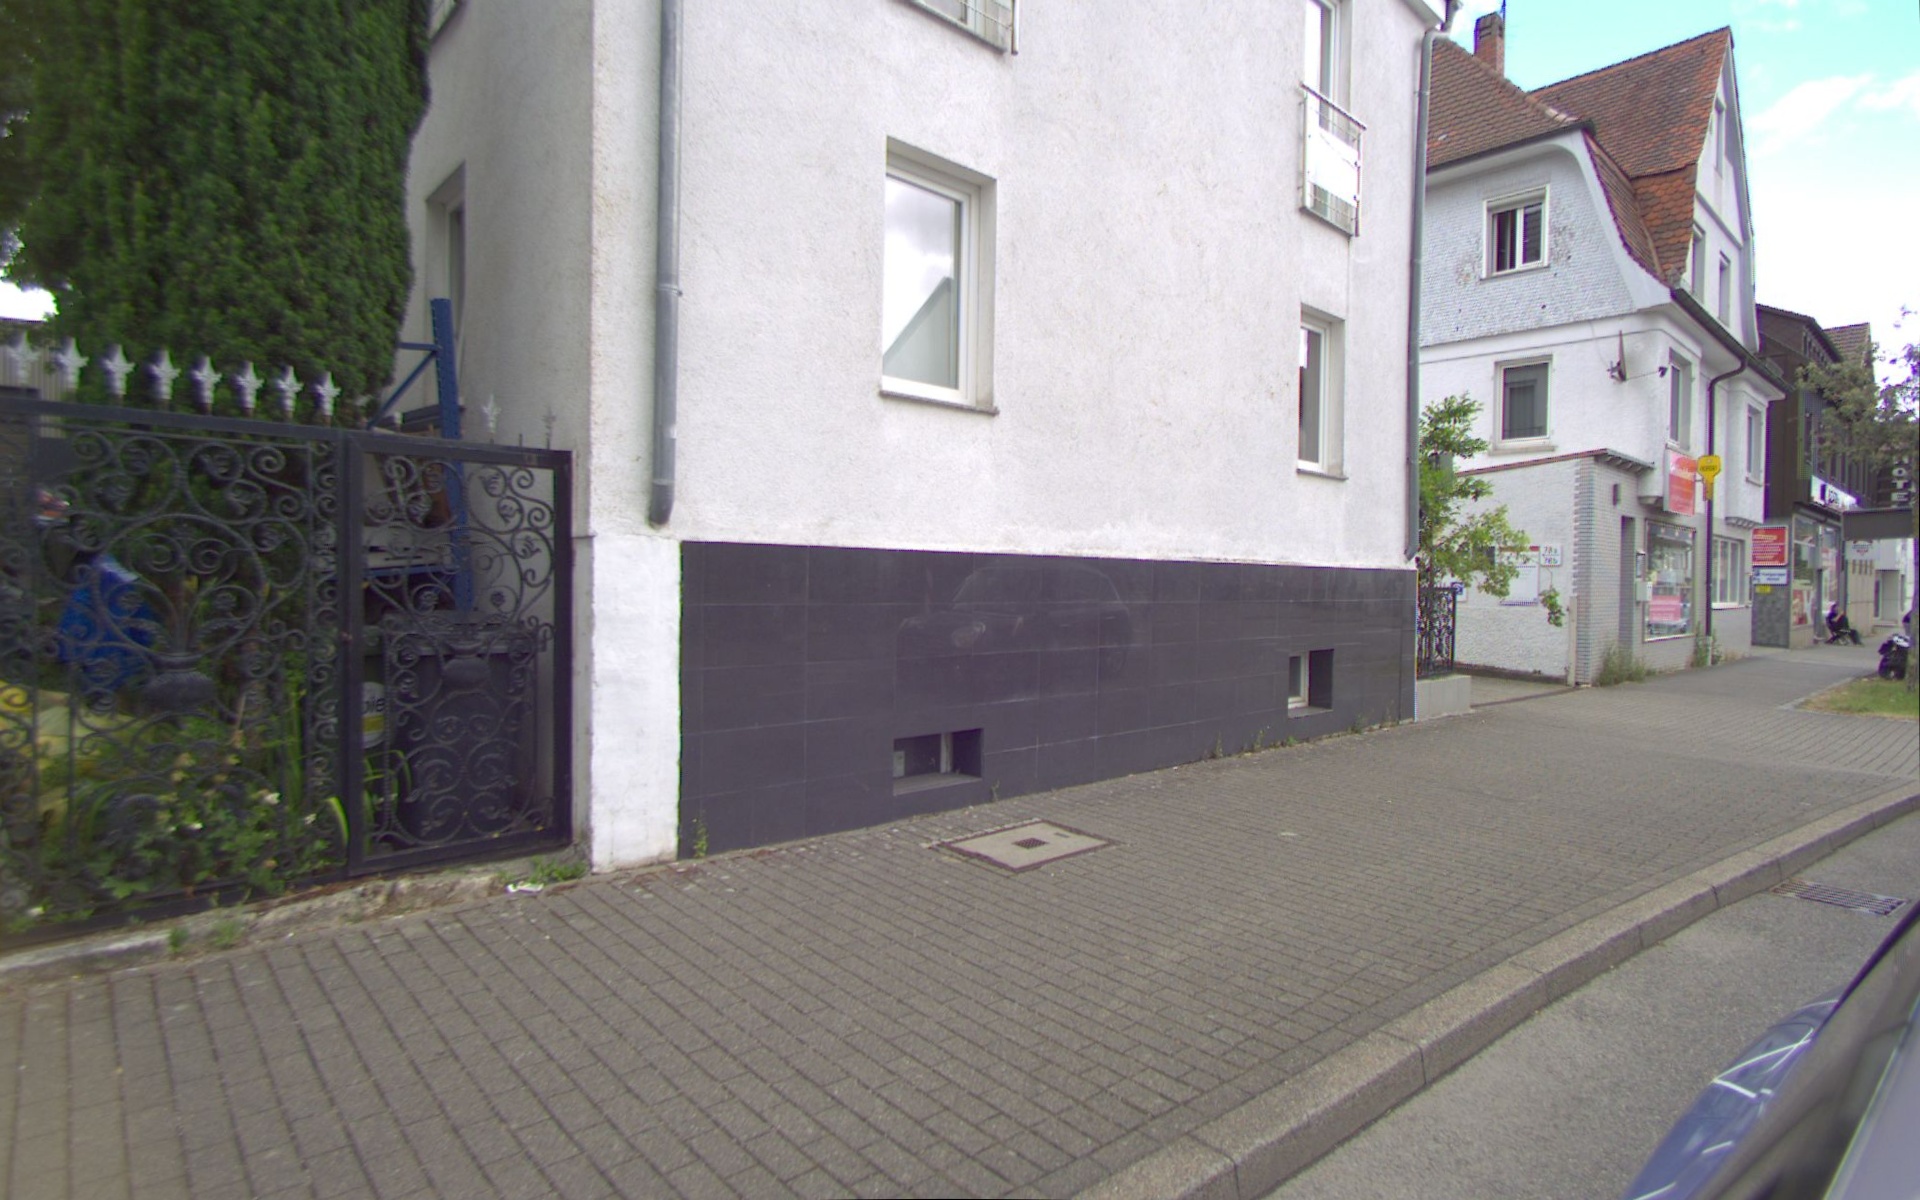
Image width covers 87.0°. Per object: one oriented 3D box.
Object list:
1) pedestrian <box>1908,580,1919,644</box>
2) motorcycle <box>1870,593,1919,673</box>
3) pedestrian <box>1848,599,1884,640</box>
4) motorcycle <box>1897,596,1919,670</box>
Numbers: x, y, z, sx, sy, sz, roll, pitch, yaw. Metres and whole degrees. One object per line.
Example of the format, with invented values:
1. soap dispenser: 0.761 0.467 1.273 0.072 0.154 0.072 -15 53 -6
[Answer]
1. pedestrian: 27.070 0.332 28.381 0.641 1.762 0.731 2 2 42
2. motorcycle: 17.366 0.583 17.946 0.763 1.399 2.236 0 0 11
3. pedestrian: 28.330 0.601 31.647 0.633 1.226 0.741 0 2 -43
4. motorcycle: 19.984 0.652 20.430 2.418 1.458 0.651 0 0 -23
